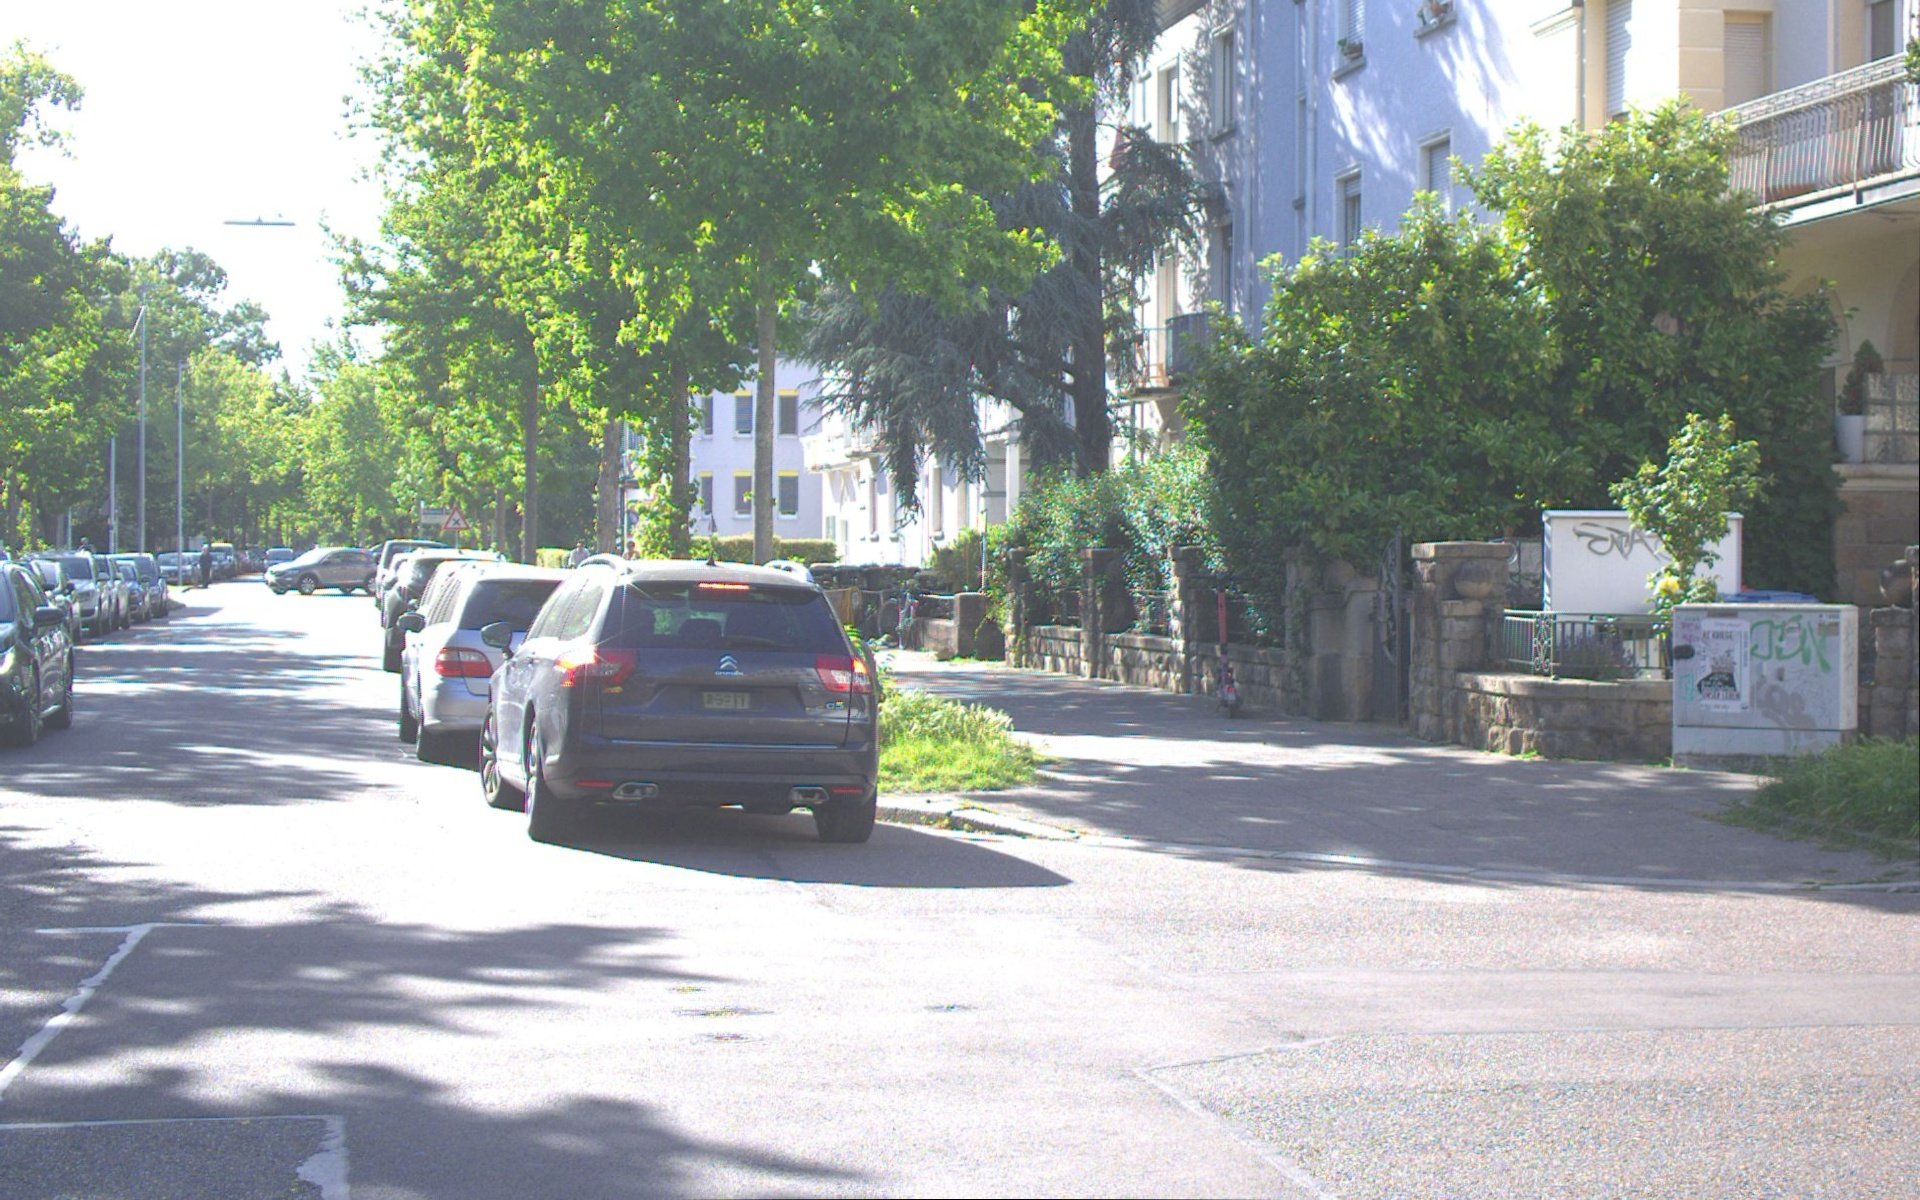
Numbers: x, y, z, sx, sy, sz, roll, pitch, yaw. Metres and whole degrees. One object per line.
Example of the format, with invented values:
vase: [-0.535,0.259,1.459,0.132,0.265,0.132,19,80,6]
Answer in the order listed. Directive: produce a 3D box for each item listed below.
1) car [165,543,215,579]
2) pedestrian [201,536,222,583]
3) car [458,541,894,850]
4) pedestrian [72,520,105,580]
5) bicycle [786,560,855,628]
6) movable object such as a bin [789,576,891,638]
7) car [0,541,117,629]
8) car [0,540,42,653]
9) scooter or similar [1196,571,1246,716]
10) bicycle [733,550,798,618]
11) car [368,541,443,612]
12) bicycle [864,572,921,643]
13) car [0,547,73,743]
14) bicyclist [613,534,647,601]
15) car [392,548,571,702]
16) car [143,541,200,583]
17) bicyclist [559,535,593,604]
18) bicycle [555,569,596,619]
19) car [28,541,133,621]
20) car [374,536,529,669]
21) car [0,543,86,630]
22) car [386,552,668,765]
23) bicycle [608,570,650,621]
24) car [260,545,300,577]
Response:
car: [-34.347,-1.754,153.471,1.993,1.579,4.001,0,1,-10]
pedestrian: [-30.507,-1.653,140.074,0.715,1.894,0.837,0,1,-19]
car: [-1.756,0.476,19.541,1.895,1.519,4.968,1,0,-11]
pedestrian: [-29.464,-1.704,116.231,0.859,2.007,0.981,0,1,-1]
bicycle: [-2.370,-0.106,58.325,0.803,1.111,2.001,1,1,-13]
movable object such as a bin: [-1.836,0.099,52.920,1.222,0.901,1.663,0,1,11]
car: [-16.983,-0.301,64.872,1.811,1.590,4.234,0,1,-10]
car: [-14.472,-0.053,50.286,1.789,1.561,4.467,-3,1,-13]
scooter or similar: [2.226,0.357,29.237,0.401,1.181,1.205,0,2,5]
bicycle: [-3.696,-0.310,65.148,0.838,1.253,2.232,1,1,-14]
car: [-15.623,-0.688,96.716,1.970,1.942,4.987,0,1,-11]
bicycle: [-0.976,0.096,49.506,0.581,0.971,1.904,0,1,-8]
car: [-8.164,0.319,27.427,1.808,1.441,4.367,-1,1,-11]
bicyclist: [-7.721,-0.768,80.403,0.676,1.548,1.022,0,1,-13]
car: [-5.294,0.233,37.710,1.653,1.527,3.970,3,0,-11]
car: [-31.722,-1.534,138.407,1.993,1.665,4.001,0,1,-10]
bicyclist: [-9.012,-0.723,80.688,0.676,1.604,0.922,0,1,-13]
bicycle: [-9.035,-0.151,80.758,0.683,1.149,2.404,0,1,-13]
car: [-18.077,-0.415,70.810,1.710,1.539,3.931,-2,1,-9]
car: [-6.964,-0.014,47.146,1.925,1.646,5.096,2,1,-8]
car: [-16.266,-0.247,59.818,1.761,1.439,3.910,-2,1,-11]
car: [-3.507,0.391,27.142,1.821,1.464,4.911,2,1,-11]
bicycle: [-7.773,-0.119,80.611,0.683,1.149,2.404,0,1,-13]
car: [-34.403,-1.966,173.942,1.782,1.603,4.001,0,1,-14]
